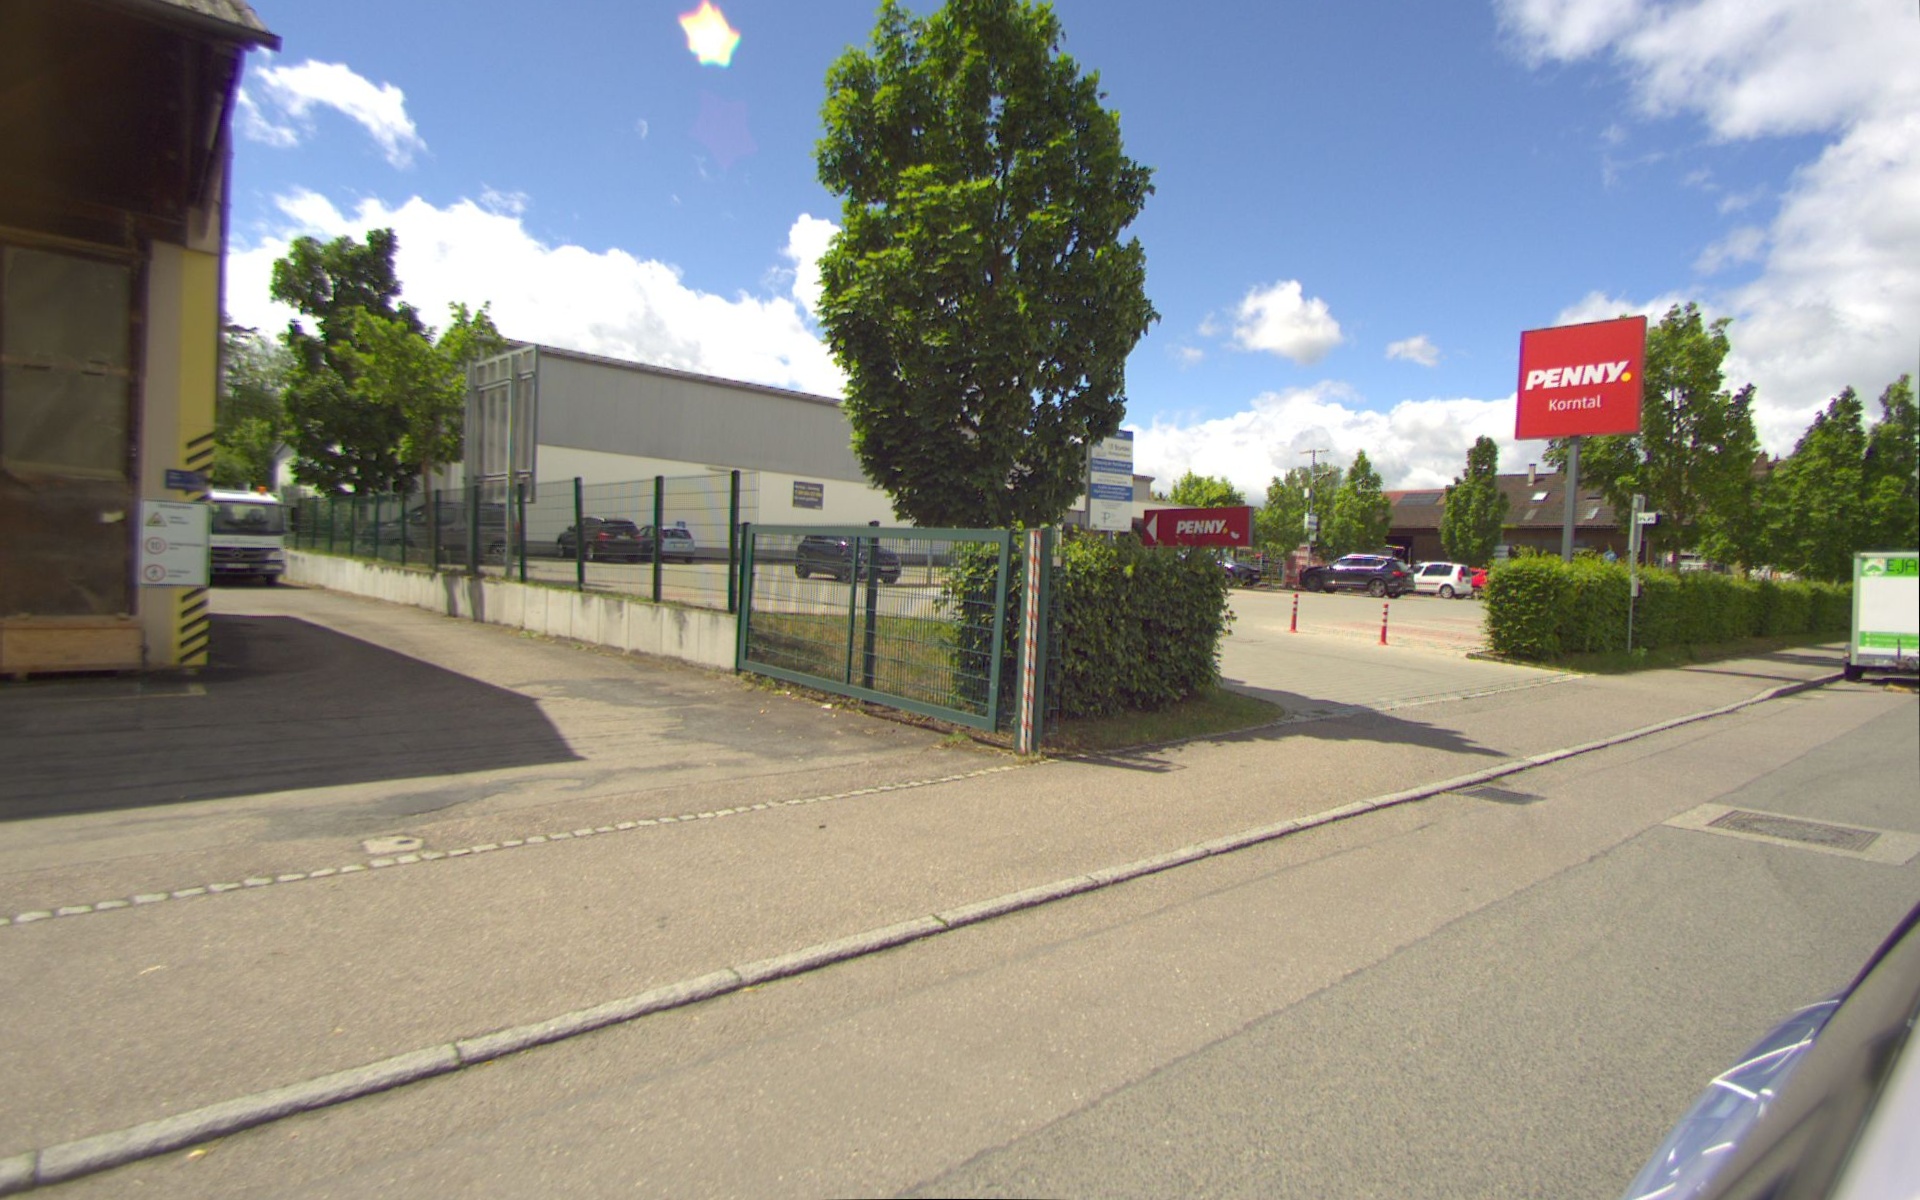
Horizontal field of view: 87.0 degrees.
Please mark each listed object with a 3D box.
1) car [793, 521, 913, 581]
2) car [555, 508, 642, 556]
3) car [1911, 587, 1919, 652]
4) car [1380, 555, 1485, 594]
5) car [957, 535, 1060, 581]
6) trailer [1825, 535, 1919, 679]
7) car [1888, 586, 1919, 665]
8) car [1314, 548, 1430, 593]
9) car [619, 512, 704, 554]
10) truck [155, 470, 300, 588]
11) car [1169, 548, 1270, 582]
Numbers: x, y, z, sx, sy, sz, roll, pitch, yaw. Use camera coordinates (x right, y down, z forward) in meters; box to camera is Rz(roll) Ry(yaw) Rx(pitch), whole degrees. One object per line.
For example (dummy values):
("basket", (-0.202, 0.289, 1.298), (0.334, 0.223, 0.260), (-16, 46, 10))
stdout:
("car", (-3.437, -1.484, 31.950), (1.963, 1.705, 3.997), (1, 0, -38))
("car", (-13.650, -2.540, 38.103), (1.787, 1.642, 3.996), (1, 2, -40))
("car", (25.769, 0.556, 25.539), (4.365, 1.590, 1.947), (1, 3, -39))
("car", (21.978, -1.152, 47.156), (1.966, 1.727, 3.992), (1, 0, -42))
("car", (2.187, -1.862, 46.127), (4.213, 1.928, 2.004), (1, 0, -20))
("trailer", (17.057, 0.109, 17.973), (4.369, 2.322, 1.945), (0, 3, -42))
("car", (21.626, 0.571, 21.858), (4.370, 1.590, 1.944), (0, 3, -43))
("car", (16.906, -1.172, 41.659), (1.966, 1.727, 3.992), (1, 0, -42))
("car", (-11.940, -2.645, 40.326), (1.787, 1.526, 3.996), (1, 2, -40))
("truck", (-22.804, -1.866, 31.134), (2.925, 2.901, 12.006), (1, 0, -39))
("car", (11.555, -1.543, 45.186), (1.965, 1.371, 3.993), (1, 0, -41))
